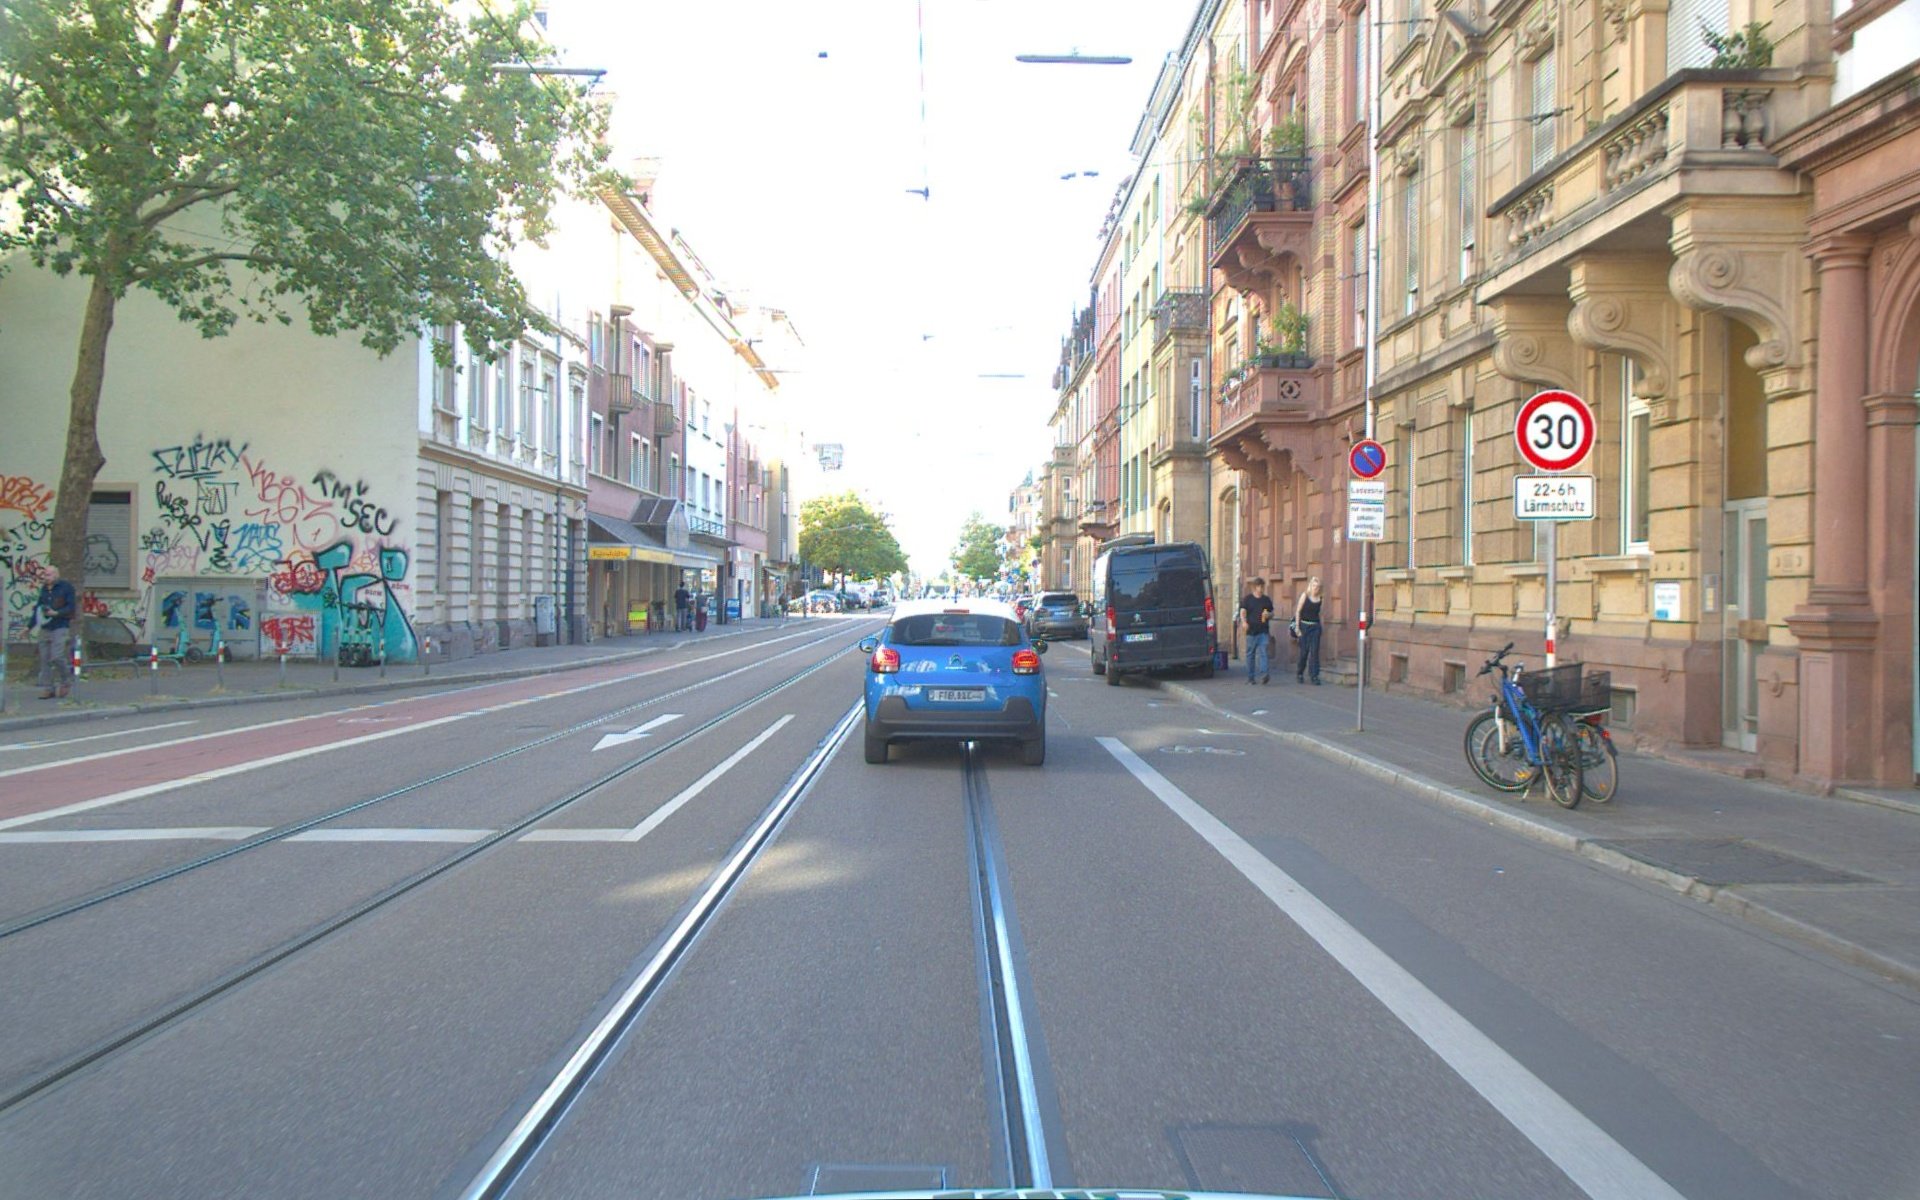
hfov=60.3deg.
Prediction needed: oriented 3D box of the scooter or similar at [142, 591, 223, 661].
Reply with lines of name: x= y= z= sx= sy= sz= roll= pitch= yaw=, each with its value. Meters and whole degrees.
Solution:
scooter or similar: x=-14.477 y=0.469 z=30.823 sx=1.207 sy=1.280 sz=0.765 roll=0 pitch=0 yaw=-13

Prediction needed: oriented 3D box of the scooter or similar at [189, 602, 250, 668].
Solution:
scooter or similar: x=-14.257 y=0.664 z=31.874 sx=0.921 sy=1.243 sz=0.765 roll=0 pitch=0 yaw=-13

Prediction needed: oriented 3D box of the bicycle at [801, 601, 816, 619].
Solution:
bicycle: x=-11.378 y=0.744 z=124.145 sx=1.099 sy=1.342 sz=3.639 roll=0 pitch=0 yaw=-6

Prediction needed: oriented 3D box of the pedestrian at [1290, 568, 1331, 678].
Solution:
pedestrian: x=5.853 y=0.376 z=27.640 sx=0.542 sy=1.813 sz=0.606 roll=0 pitch=0 yaw=-2

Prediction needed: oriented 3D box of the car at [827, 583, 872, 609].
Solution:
car: x=-11.552 y=-0.424 z=172.802 sx=4.256 sy=2.626 sz=2.191 roll=-1 pitch=0 yaw=-27

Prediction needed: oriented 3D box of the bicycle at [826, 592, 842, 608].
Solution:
bicycle: x=-9.463 y=0.014 z=124.406 sx=1.099 sy=1.166 sz=3.639 roll=0 pitch=0 yaw=-6

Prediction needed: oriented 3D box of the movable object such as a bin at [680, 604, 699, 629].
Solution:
movable object such as a bin: x=-10.030 y=0.608 z=61.381 sx=0.598 sy=0.930 sz=0.695 roll=0 pitch=0 yaw=-1

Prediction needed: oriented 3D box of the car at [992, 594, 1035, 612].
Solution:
car: x=4.789 y=0.276 z=149.651 sx=3.759 sy=1.646 sz=1.790 roll=0 pitch=0 yaw=-3

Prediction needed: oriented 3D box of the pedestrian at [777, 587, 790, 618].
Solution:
pedestrian: x=-9.586 y=0.115 z=89.785 sx=0.671 sy=1.667 sz=0.675 roll=0 pitch=0 yaw=-2

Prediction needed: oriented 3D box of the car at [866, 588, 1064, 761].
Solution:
car: x=-0.068 y=0.641 z=16.492 sx=1.641 sy=1.503 sz=3.996 roll=0 pitch=0 yaw=-5

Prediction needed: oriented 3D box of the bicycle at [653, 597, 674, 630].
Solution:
bicycle: x=-10.827 y=0.484 z=60.357 sx=0.610 sy=1.180 sz=2.058 roll=0 pitch=0 yaw=-13

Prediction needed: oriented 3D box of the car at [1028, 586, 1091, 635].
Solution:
car: x=3.561 y=0.365 z=59.933 sx=1.965 sy=1.702 sz=4.805 roll=0 pitch=0 yaw=-1

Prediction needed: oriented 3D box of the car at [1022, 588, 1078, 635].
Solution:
car: x=3.497 y=0.427 z=64.591 sx=1.867 sy=1.788 sz=3.999 roll=0 pitch=0 yaw=-2

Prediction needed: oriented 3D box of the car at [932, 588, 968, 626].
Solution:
car: x=-0.587 y=0.376 z=92.901 sx=1.953 sy=2.049 sz=3.999 roll=0 pitch=0 yaw=-2

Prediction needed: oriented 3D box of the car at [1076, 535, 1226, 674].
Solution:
car: x=3.650 y=0.076 z=32.711 sx=2.225 sy=2.479 sz=5.719 roll=0 pitch=0 yaw=-1

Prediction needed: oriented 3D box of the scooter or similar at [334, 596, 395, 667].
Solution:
scooter or similar: x=-11.637 y=0.604 z=32.354 sx=0.772 sy=1.294 sz=1.074 roll=2 pitch=1 yaw=-2

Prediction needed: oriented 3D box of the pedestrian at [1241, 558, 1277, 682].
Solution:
pedestrian: x=5.047 y=0.332 z=27.956 sx=0.573 sy=2.049 sz=0.824 roll=0 pitch=0 yaw=9

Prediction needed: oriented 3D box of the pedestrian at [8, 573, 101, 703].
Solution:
pedestrian: x=-12.834 y=0.523 z=23.463 sx=0.668 sy=1.796 sz=1.026 roll=0 pitch=0 yaw=10

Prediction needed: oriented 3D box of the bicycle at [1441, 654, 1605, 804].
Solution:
bicycle: x=4.160 y=0.923 z=12.341 sx=0.423 sy=0.964 sz=1.760 roll=0 pitch=0 yaw=-8

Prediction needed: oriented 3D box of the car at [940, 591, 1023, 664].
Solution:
car: x=0.423 y=0.557 z=35.872 sx=1.633 sy=1.504 sz=3.999 roll=0 pitch=0 yaw=-2

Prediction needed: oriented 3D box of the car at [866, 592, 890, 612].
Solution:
car: x=-6.922 y=0.173 z=140.269 sx=1.953 sy=1.680 sz=3.999 roll=0 pitch=0 yaw=-2

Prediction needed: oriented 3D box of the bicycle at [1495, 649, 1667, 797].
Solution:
bicycle: x=4.612 y=0.884 z=12.395 sx=0.423 sy=0.964 sz=1.760 roll=0 pitch=0 yaw=-8

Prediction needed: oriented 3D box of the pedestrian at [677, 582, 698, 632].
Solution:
pedestrian: x=-10.001 y=0.257 z=60.676 sx=0.696 sy=1.795 sz=0.570 roll=0 pitch=0 yaw=-2

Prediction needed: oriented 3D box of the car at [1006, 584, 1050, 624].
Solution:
car: x=3.433 y=0.188 z=83.958 sx=1.965 sy=1.701 sz=4.392 roll=-1 pitch=3 yaw=-1

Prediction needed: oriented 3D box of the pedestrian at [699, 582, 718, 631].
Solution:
pedestrian: x=-9.260 y=0.229 z=60.969 sx=0.697 sy=1.795 sz=0.653 roll=0 pitch=0 yaw=-9
